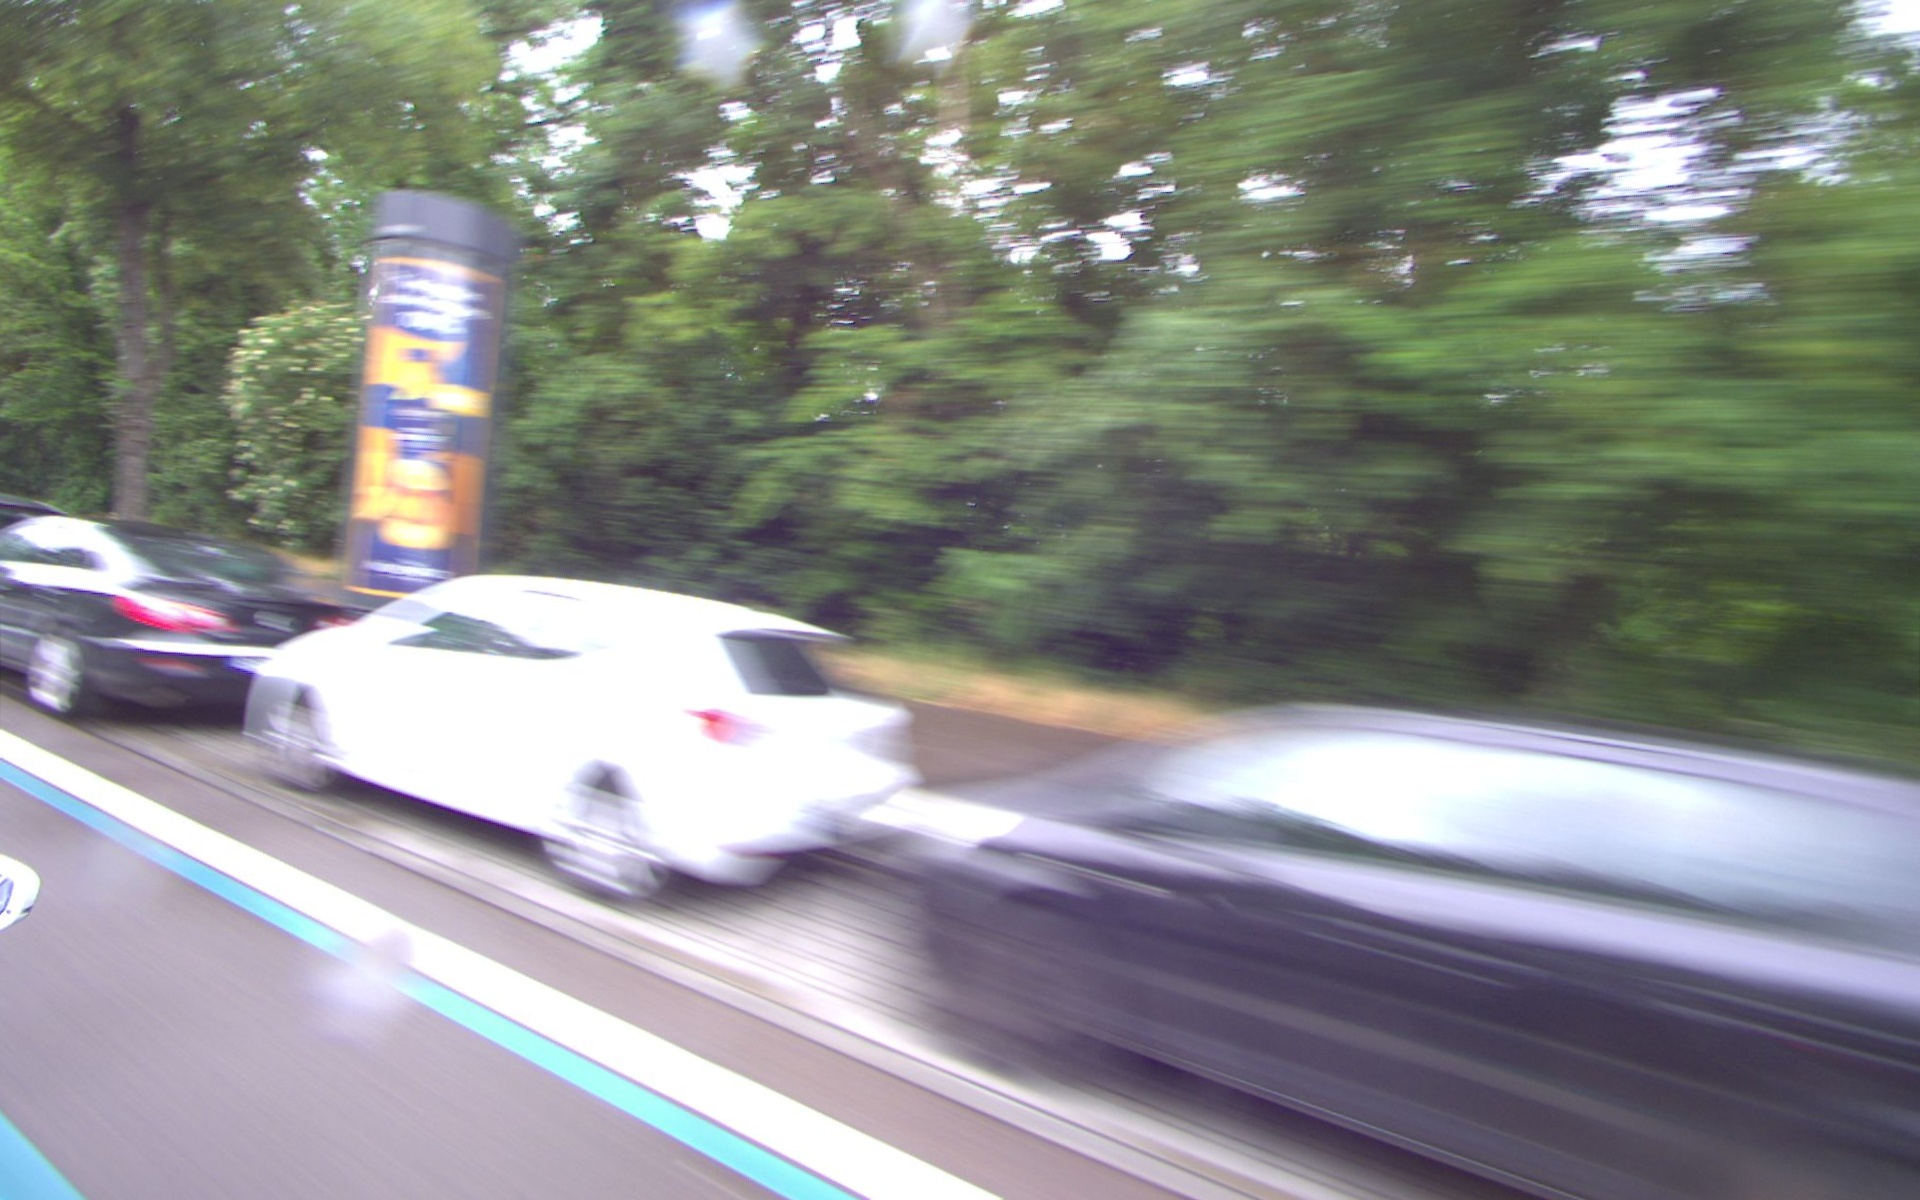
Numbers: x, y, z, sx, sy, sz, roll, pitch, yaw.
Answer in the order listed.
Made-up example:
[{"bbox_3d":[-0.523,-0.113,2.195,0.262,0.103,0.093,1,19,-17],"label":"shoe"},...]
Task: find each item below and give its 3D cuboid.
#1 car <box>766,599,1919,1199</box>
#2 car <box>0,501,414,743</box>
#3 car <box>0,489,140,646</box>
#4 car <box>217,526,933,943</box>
[{"bbox_3d":[1.387,1.023,3.600,3.835,1.481,1.662,7,-2,32],"label":"car"},{"bbox_3d":[-6.690,0.067,8.212,4.370,1.409,1.756,7,-2,29],"label":"car"},{"bbox_3d":[-11.311,-0.561,11.246,4.128,1.502,1.827,7,-2,30],"label":"car"},{"bbox_3d":[-2.331,0.570,5.893,3.931,1.484,1.622,7,-1,28],"label":"car"}]
